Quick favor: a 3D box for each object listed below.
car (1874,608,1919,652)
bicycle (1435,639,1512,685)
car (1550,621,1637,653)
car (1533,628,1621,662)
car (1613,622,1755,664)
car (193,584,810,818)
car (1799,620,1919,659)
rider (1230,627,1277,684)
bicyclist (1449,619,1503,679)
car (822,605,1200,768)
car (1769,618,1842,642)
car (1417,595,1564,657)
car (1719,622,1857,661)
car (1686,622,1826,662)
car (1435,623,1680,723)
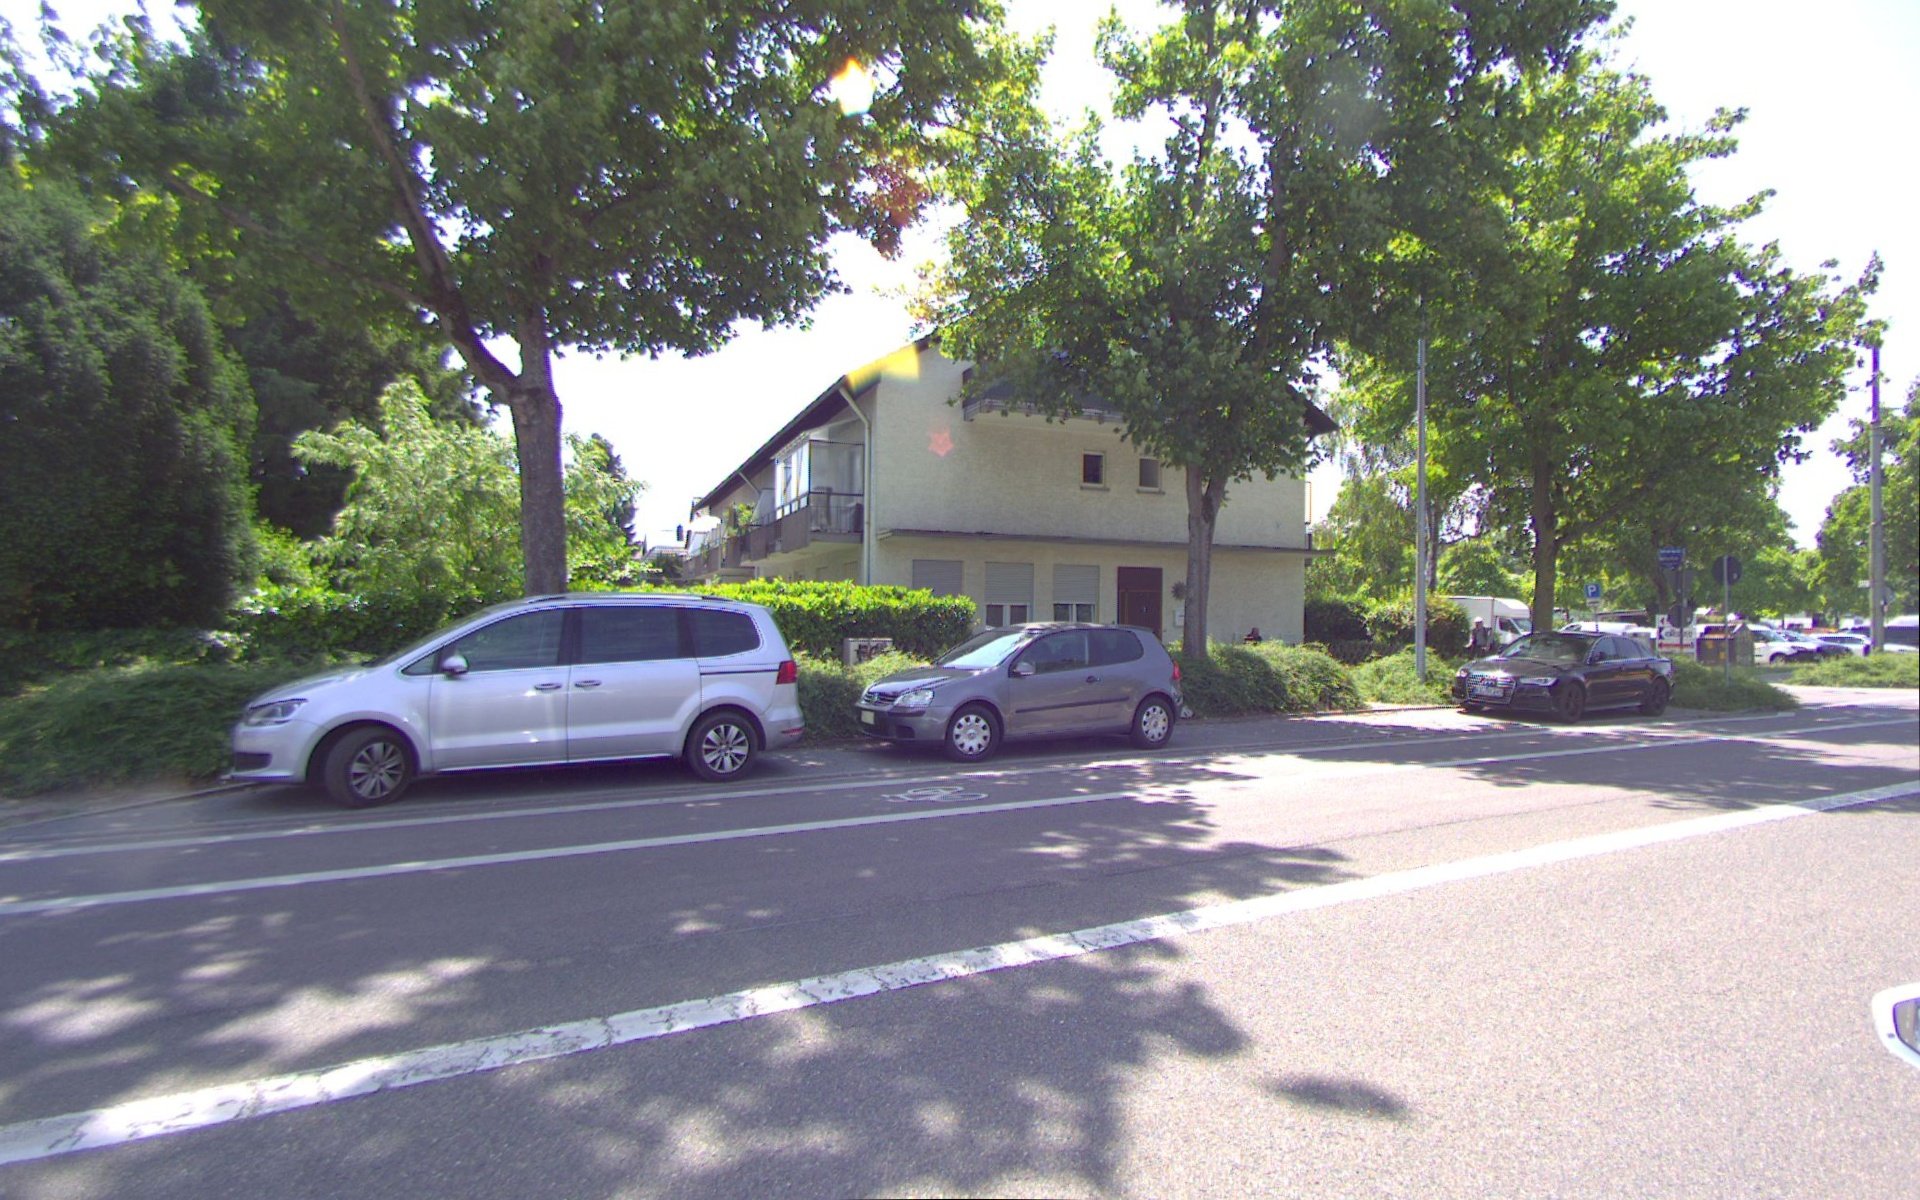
[{"bbox_3d":[52.244,1.676,53.268,2.349,2.274,5.076,2,1,-28],"label":"car"},{"bbox_3d":[12.442,1.507,24.316,1.805,1.043,0.698,2,1,-27],"label":"bicycle"},{"bbox_3d":[37.438,2.173,59.440,1.799,1.675,3.957,2,1,-37],"label":"car"},{"bbox_3d":[35.538,2.567,57.931,1.799,1.675,3.957,2,1,-37],"label":"car"},{"bbox_3d":[29.380,1.716,40.903,1.891,1.606,4.321,1,-1,-31],"label":"car"},{"bbox_3d":[-3.942,0.751,9.246,4.725,1.687,1.863,1,0,-31],"label":"car"},{"bbox_3d":[43.177,1.868,48.295,1.975,1.769,3.968,1,-1,-30],"label":"car"},{"bbox_3d":[7.381,1.375,25.271,0.800,1.392,0.824,1,-1,-22],"label":"rider"},{"bbox_3d":[12.472,1.186,24.291,0.817,1.392,0.806,2,1,-27],"label":"bicyclist"},{"bbox_3d":[0.656,0.900,11.834,4.132,1.585,1.809,1,1,-31],"label":"car"},{"bbox_3d":[66.340,2.344,78.877,1.795,1.638,4.000,2,1,-30],"label":"car"},{"bbox_3d":[28.768,1.345,54.802,2.337,3.005,6.816,2,1,-30],"label":"car"},{"bbox_3d":[36.356,1.785,44.231,1.886,1.606,4.333,1,-1,-23],"label":"car"},{"bbox_3d":[33.911,1.737,42.928,1.886,1.606,4.332,1,-1,-24],"label":"car"},{"bbox_3d":[10.574,1.206,17.710,4.397,1.496,1.809,1,1,-31],"label":"car"}]
